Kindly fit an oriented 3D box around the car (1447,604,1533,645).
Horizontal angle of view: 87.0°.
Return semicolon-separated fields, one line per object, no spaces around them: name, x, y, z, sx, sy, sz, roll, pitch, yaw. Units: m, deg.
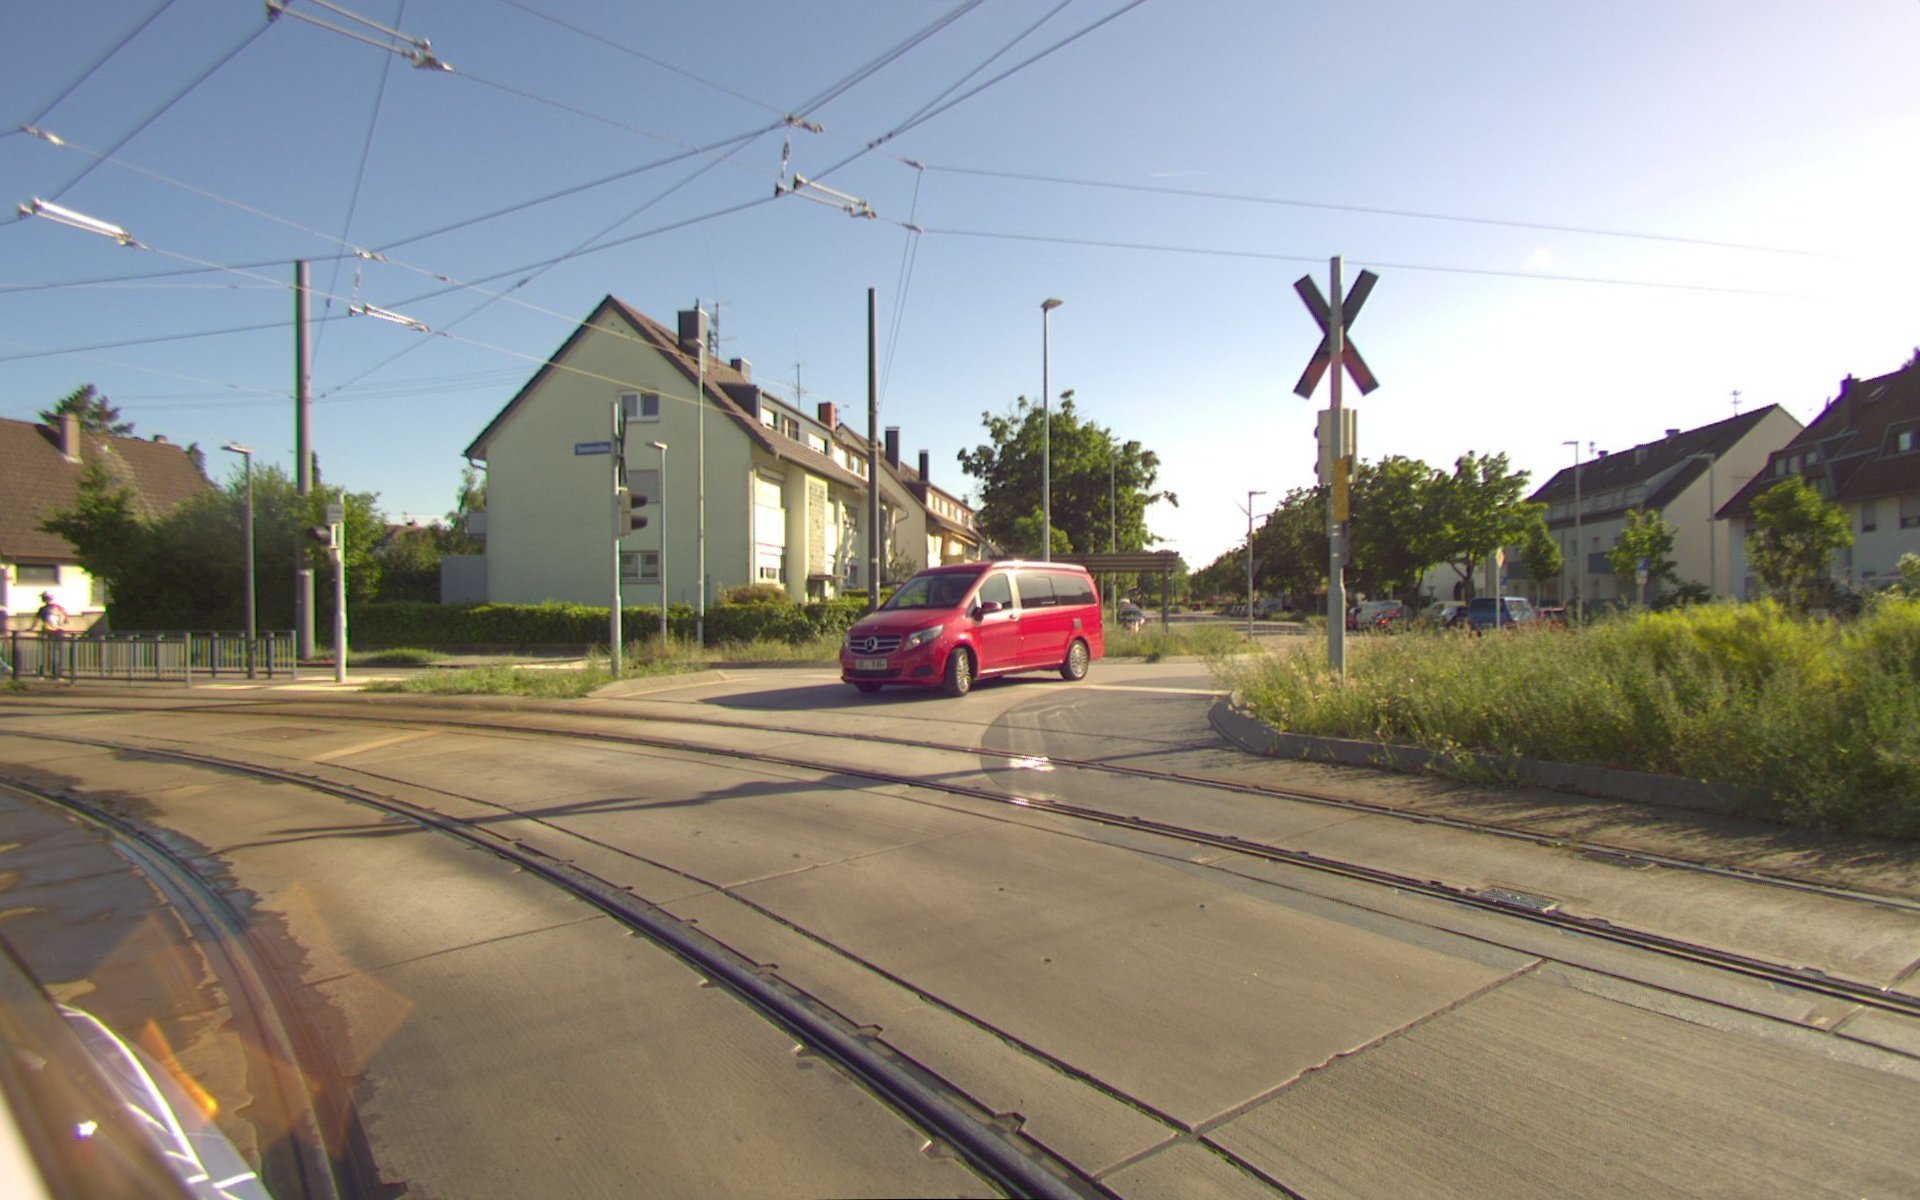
car;22.827;1.033;43.592;3.075;1.632;1.392;0;1;40

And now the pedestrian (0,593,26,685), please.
pedestrian;-19.401;0.769;20.235;0.812;1.783;0.691;1;2;-10

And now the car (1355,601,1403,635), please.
car;27.282;1.127;65.981;1.875;2.029;4.359;0;1;9

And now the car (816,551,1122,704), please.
car;0.350;0.310;15.865;1.998;1.996;5.170;-1;1;39

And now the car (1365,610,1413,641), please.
car;25.377;1.501;59.953;1.906;1.628;4.266;0;1;13

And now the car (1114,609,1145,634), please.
car;10.522;1.321;62.674;1.807;1.403;3.778;0;1;10

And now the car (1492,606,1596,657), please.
car;22.018;1.135;38.385;1.977;1.711;4.359;0;1;9

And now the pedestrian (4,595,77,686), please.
pedestrian;-17.631;0.759;19.424;0.716;1.673;0.798;1;2;-10

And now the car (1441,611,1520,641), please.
car;24.492;1.203;47.649;3.156;1.307;1.367;0;1;35

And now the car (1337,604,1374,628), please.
car;27.871;1.111;71.458;1.528;1.604;4.066;-1;0;8

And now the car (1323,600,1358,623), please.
car;28.558;0.879;76.106;1.534;1.689;4.210;0;-1;8
